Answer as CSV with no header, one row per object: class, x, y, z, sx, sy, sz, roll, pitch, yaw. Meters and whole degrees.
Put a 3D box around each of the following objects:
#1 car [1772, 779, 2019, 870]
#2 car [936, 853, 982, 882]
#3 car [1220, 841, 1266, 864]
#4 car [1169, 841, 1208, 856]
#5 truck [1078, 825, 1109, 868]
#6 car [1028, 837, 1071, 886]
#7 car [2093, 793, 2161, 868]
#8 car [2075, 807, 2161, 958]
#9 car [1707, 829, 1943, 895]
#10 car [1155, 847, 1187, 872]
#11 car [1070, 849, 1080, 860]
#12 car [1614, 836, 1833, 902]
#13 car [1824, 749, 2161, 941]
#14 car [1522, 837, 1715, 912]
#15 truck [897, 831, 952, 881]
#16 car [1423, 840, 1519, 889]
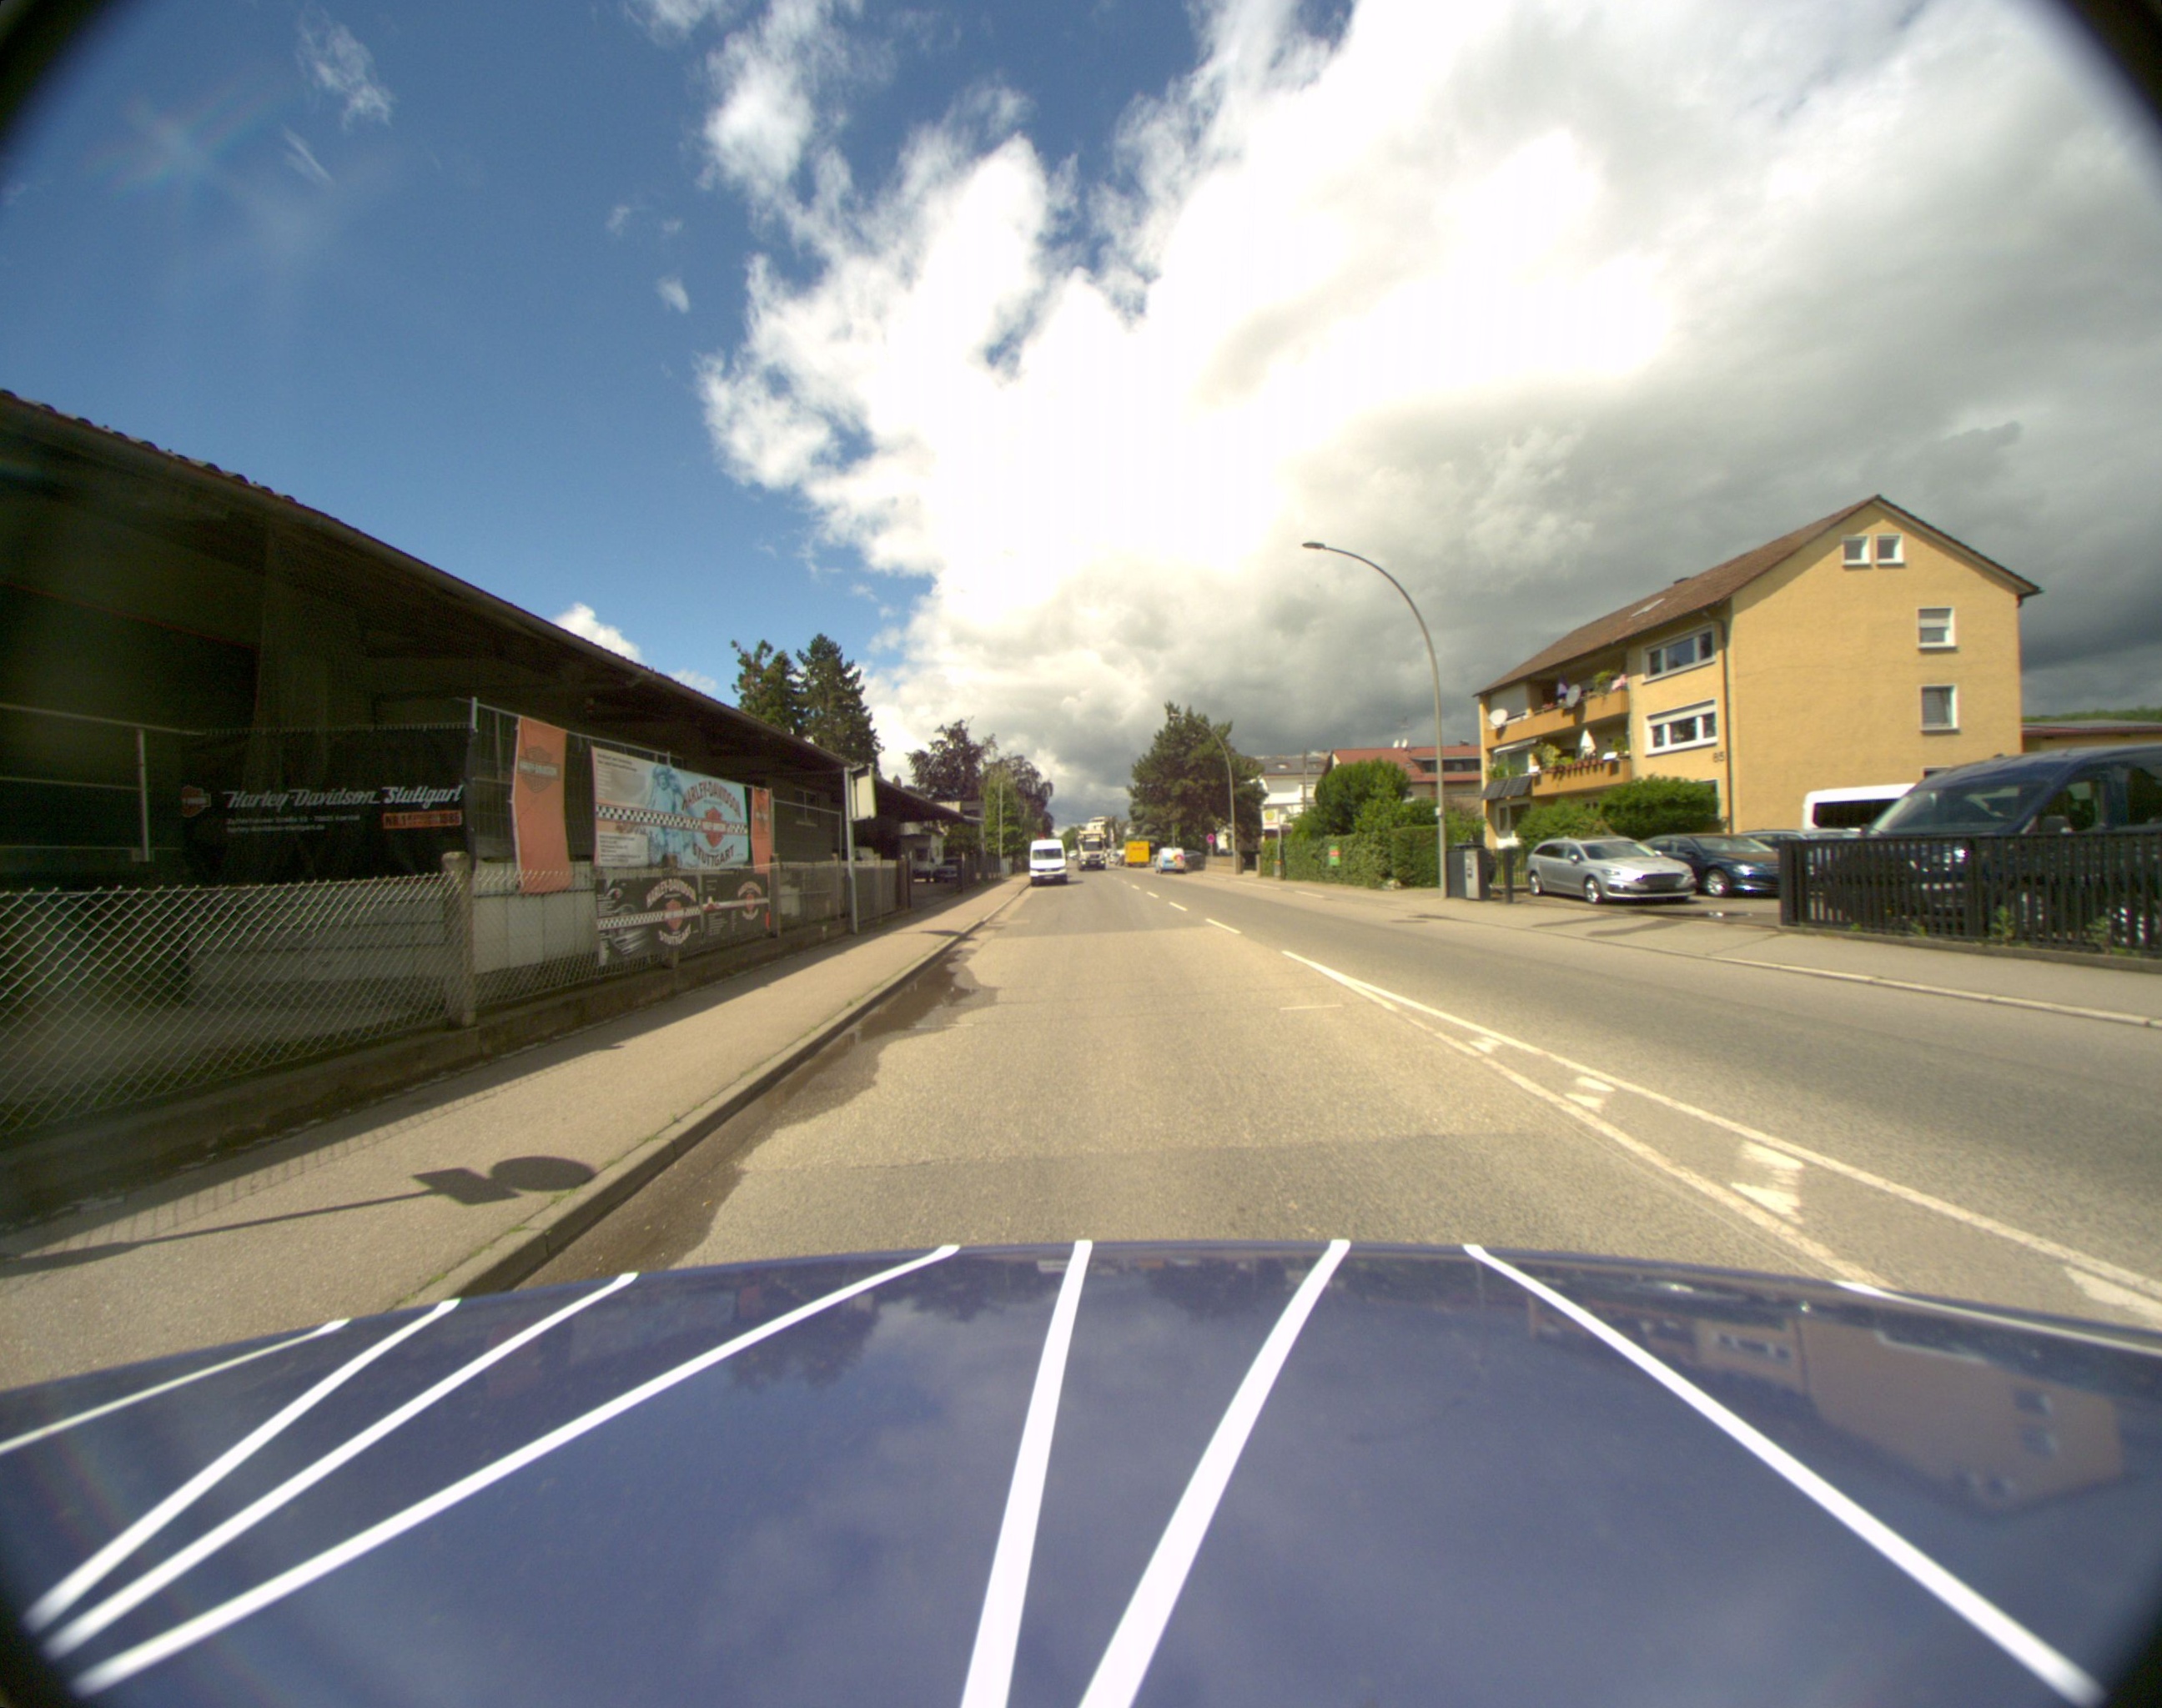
car,20.427,-0.687,19.357,1.998,2.002,3.999,-2,1,1
car,-7.144,0.732,44.826,1.863,1.521,5.202,-2,1,0
car,15.288,-0.143,71.840,2.003,2.002,3.990,-3,1,-32
car,14.160,-0.739,99.985,4.735,1.669,2.218,-2,1,-1
truck,1.196,-0.714,73.541,2.664,3.789,9.814,-2,1,1
car,-1.708,0.372,43.183,2.091,2.519,5.202,-2,1,1
car,28.709,-0.624,18.813,1.998,1.915,3.999,-2,1,1
car,12.378,0.284,6.966,1.813,1.612,3.621,-2,1,1
car,17.908,0.148,18.607,1.883,1.364,3.999,-2,1,1
car,6.491,0.353,55.139,1.730,1.671,3.999,-2,1,-2
car,-1.315,0.170,173.910,2.091,2.310,5.202,-2,1,1
car,15.100,0.303,18.195,1.885,1.334,3.999,-2,1,1
car,14.219,-0.179,10.670,5.363,2.371,2.104,-2,1,2
car,12.335,0.396,17.847,1.887,1.450,4.352,-3,1,8
truck,-9.479,0.102,46.390,2.091,2.812,5.202,-2,1,1
car,14.624,0.362,28.726,1.831,1.656,3.522,-2,1,1
